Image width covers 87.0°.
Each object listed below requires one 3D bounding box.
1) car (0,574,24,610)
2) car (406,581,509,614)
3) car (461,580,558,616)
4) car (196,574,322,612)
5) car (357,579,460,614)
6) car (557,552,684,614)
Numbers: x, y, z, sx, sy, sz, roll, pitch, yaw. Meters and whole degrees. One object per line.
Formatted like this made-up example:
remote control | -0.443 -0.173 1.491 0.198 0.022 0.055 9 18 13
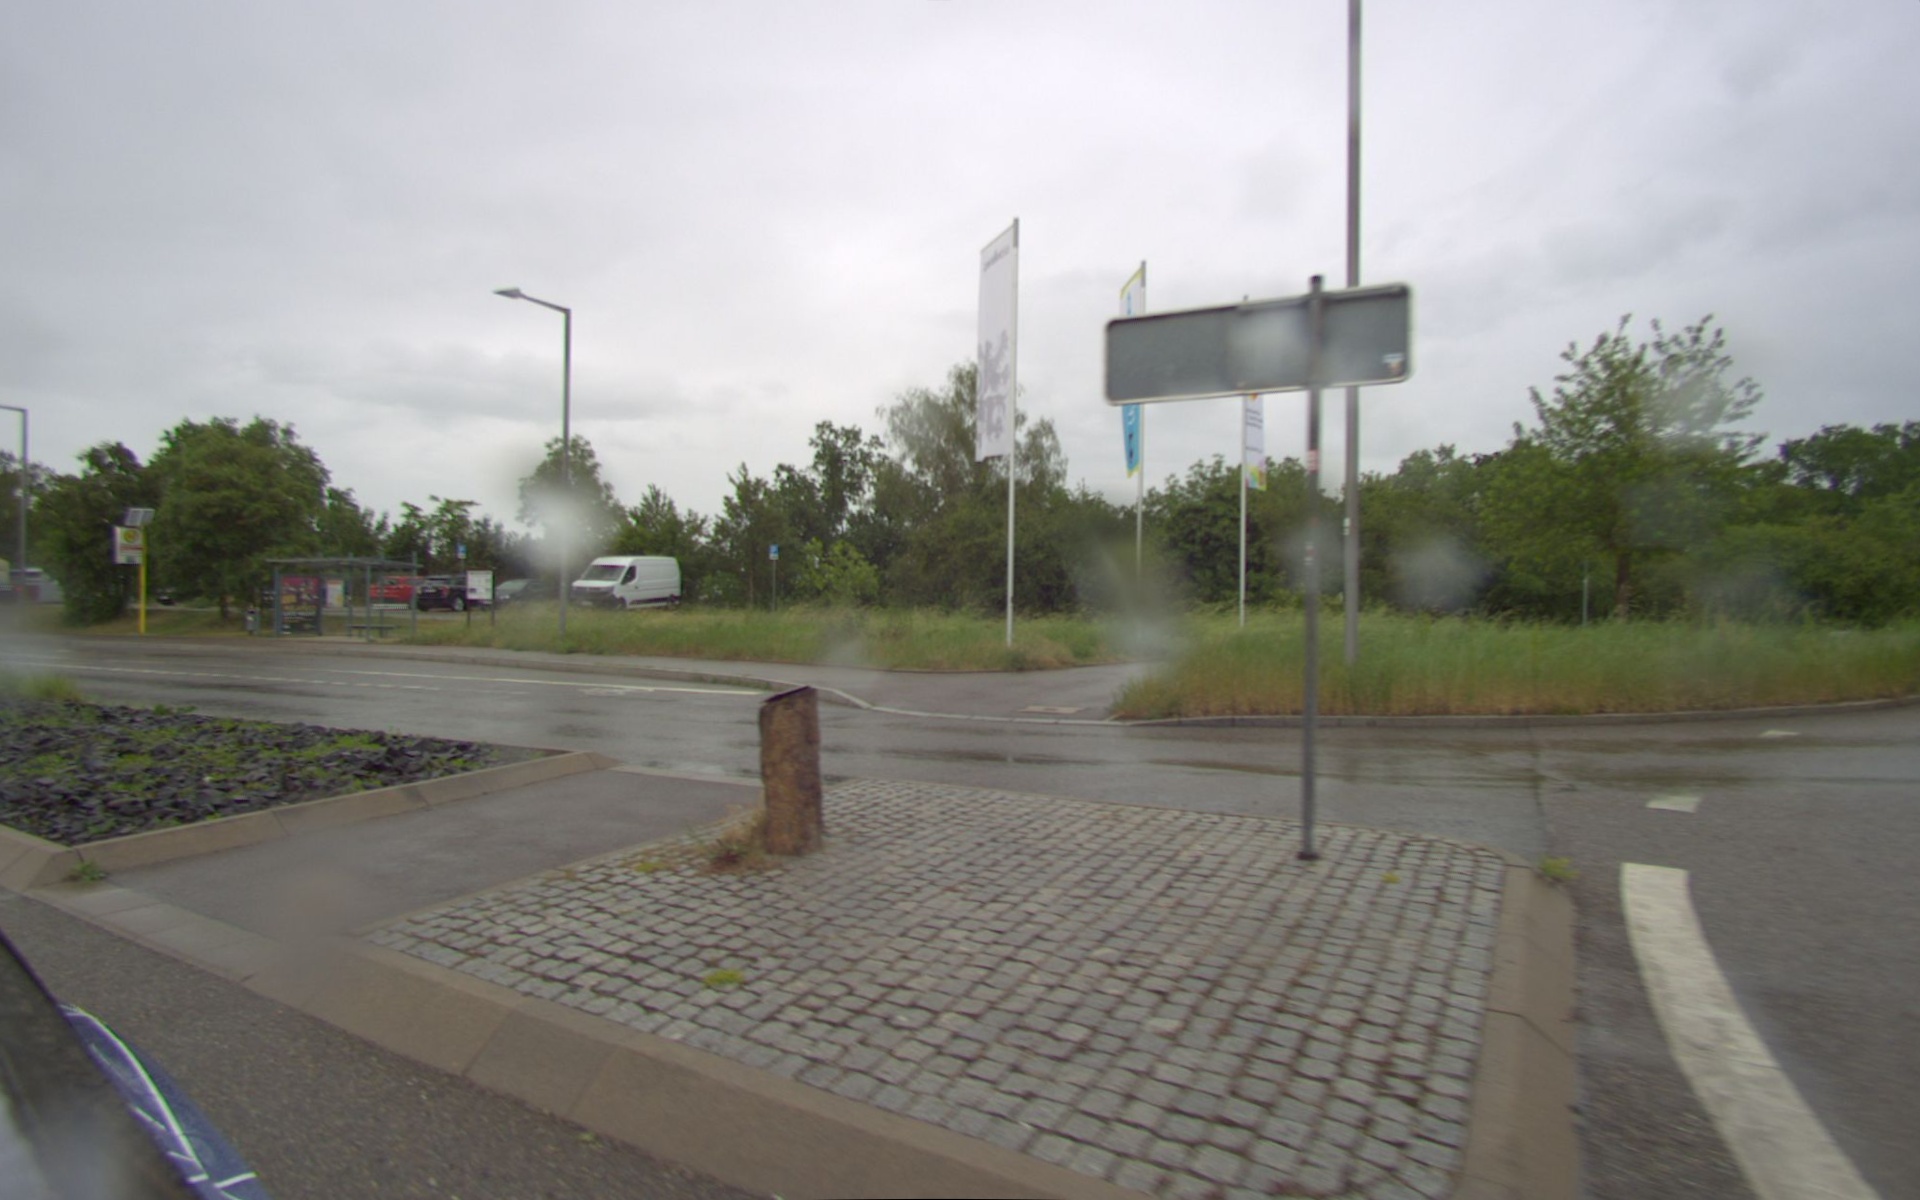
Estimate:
car | -45.340 -0.303 46.208 4.501 1.580 1.688 -1 2 16
car | -21.958 -0.108 44.384 1.833 1.374 3.976 0 0 18
car | -19.490 -0.127 43.961 1.639 1.374 3.977 0 2 18
car | -32.566 -0.315 47.189 1.987 1.706 4.697 0 0 16
car | -24.894 -0.156 45.856 1.832 1.480 3.978 0 0 17
car | -14.379 -0.759 43.448 2.117 2.415 6.551 1 2 12
